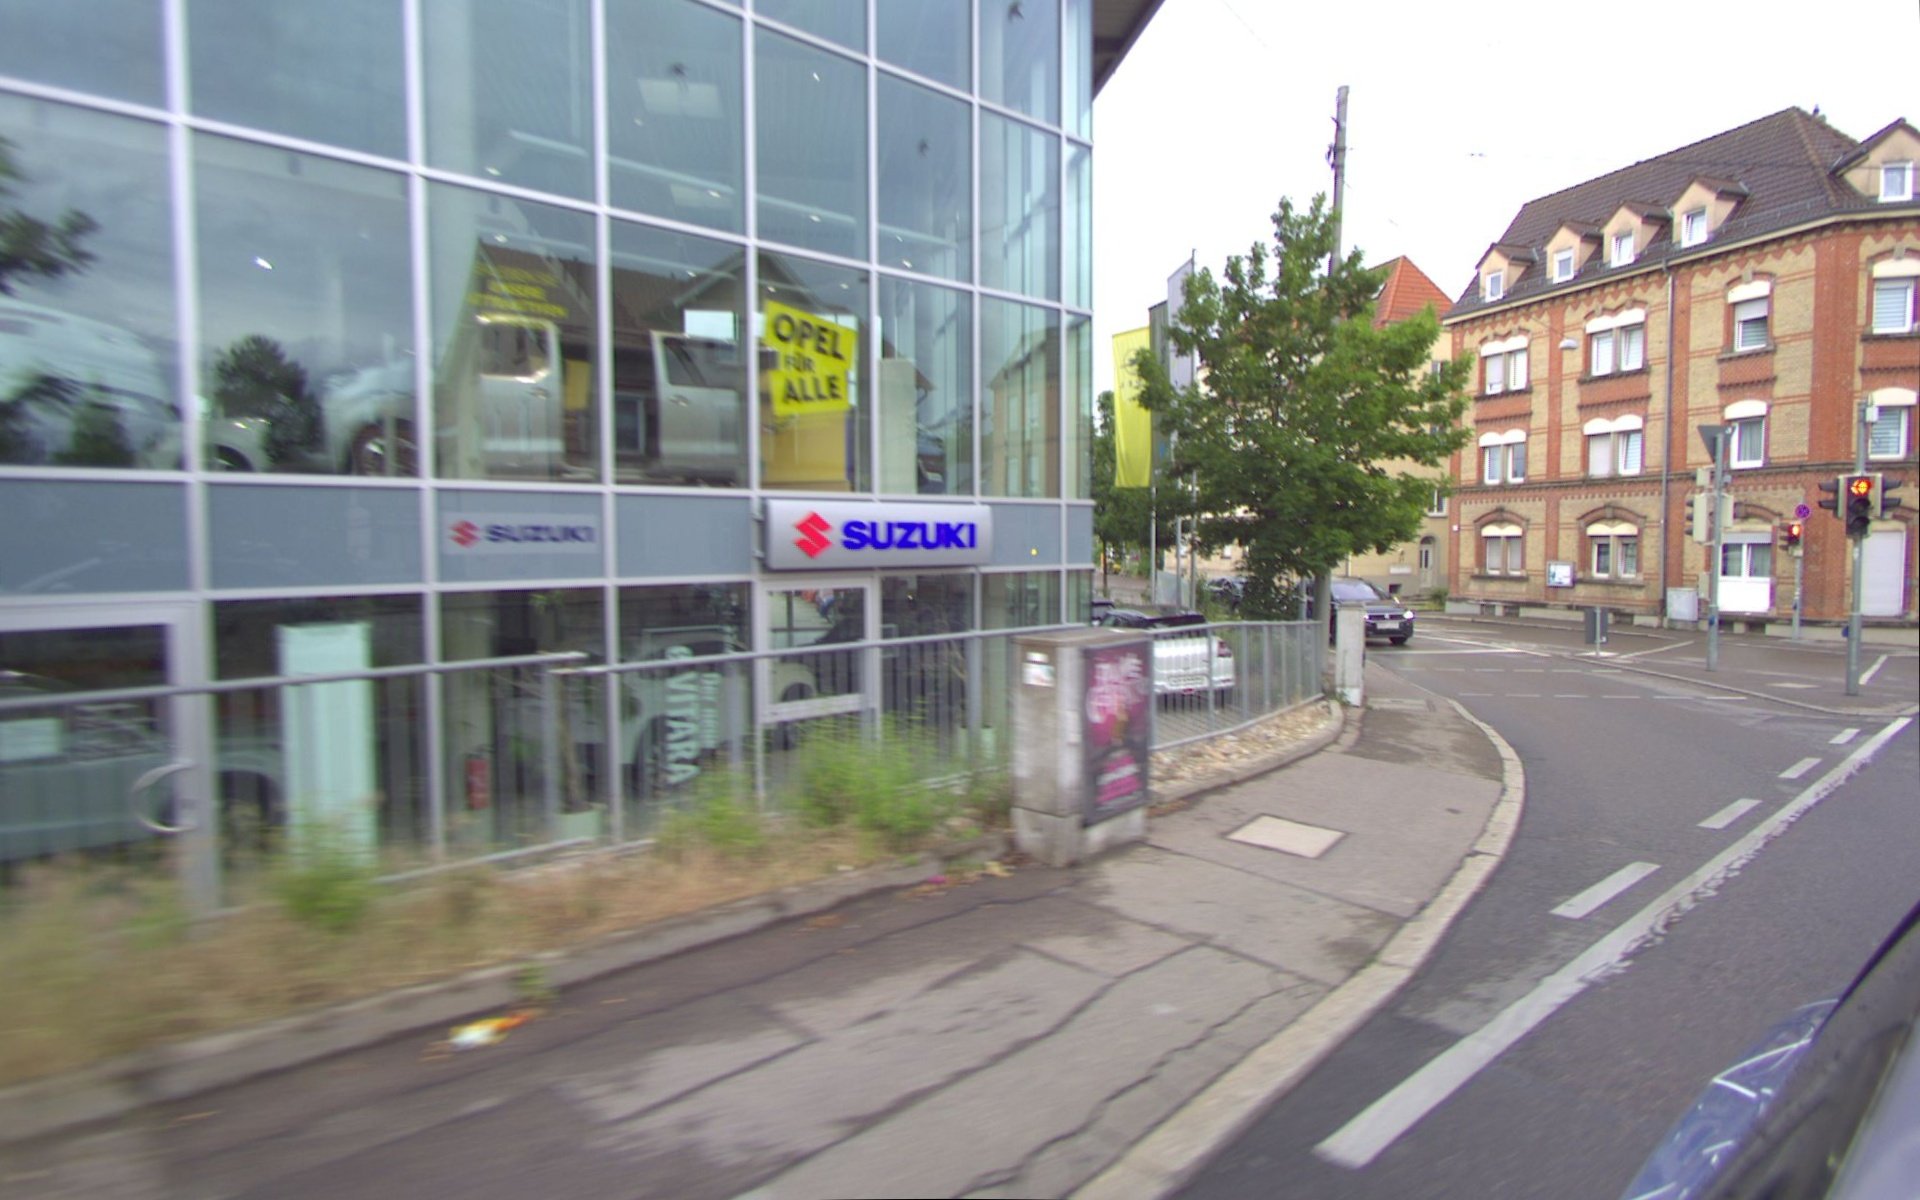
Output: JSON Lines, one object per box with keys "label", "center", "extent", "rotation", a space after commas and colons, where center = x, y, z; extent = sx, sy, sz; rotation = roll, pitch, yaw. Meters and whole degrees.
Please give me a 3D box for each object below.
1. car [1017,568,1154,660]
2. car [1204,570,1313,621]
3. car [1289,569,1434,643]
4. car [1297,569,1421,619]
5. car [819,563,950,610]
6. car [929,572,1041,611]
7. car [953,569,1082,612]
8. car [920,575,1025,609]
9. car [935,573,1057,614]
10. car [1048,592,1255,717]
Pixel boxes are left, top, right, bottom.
{"label": "car", "center": [2.428, 0.192, 20.640], "extent": [1.788, 1.548, 4.008], "rotation": [-1, 3, -8]}
{"label": "car", "center": [9.935, -0.197, 34.039], "extent": [1.767, 1.523, 4.264], "rotation": [0, 3, -10]}
{"label": "car", "center": [10.402, 0.086, 26.609], "extent": [1.768, 1.683, 4.262], "rotation": [0, 3, -5]}
{"label": "car", "center": [13.796, -0.249, 35.223], "extent": [1.805, 1.471, 4.011], "rotation": [1, 3, -18]}
{"label": "car", "center": [-2.497, -0.474, 33.342], "extent": [3.960, 1.471, 1.809], "rotation": [1, 2, 27]}
{"label": "car", "center": [0.909, -0.333, 38.375], "extent": [3.917, 1.323, 1.727], "rotation": [1, 2, -11]}
{"label": "car", "center": [1.861, -0.326, 33.293], "extent": [3.917, 1.288, 1.727], "rotation": [1, 2, -11]}
{"label": "car", "center": [0.487, -0.337, 40.927], "extent": [3.917, 1.265, 1.727], "rotation": [1, 2, -11]}
{"label": "car", "center": [1.225, -0.251, 35.353], "extent": [3.917, 1.300, 1.727], "rotation": [1, 2, -11]}
{"label": "car", "center": [2.964, 0.757, 16.597], "extent": [1.859, 1.526, 4.010], "rotation": [-3, 3, -12]}
